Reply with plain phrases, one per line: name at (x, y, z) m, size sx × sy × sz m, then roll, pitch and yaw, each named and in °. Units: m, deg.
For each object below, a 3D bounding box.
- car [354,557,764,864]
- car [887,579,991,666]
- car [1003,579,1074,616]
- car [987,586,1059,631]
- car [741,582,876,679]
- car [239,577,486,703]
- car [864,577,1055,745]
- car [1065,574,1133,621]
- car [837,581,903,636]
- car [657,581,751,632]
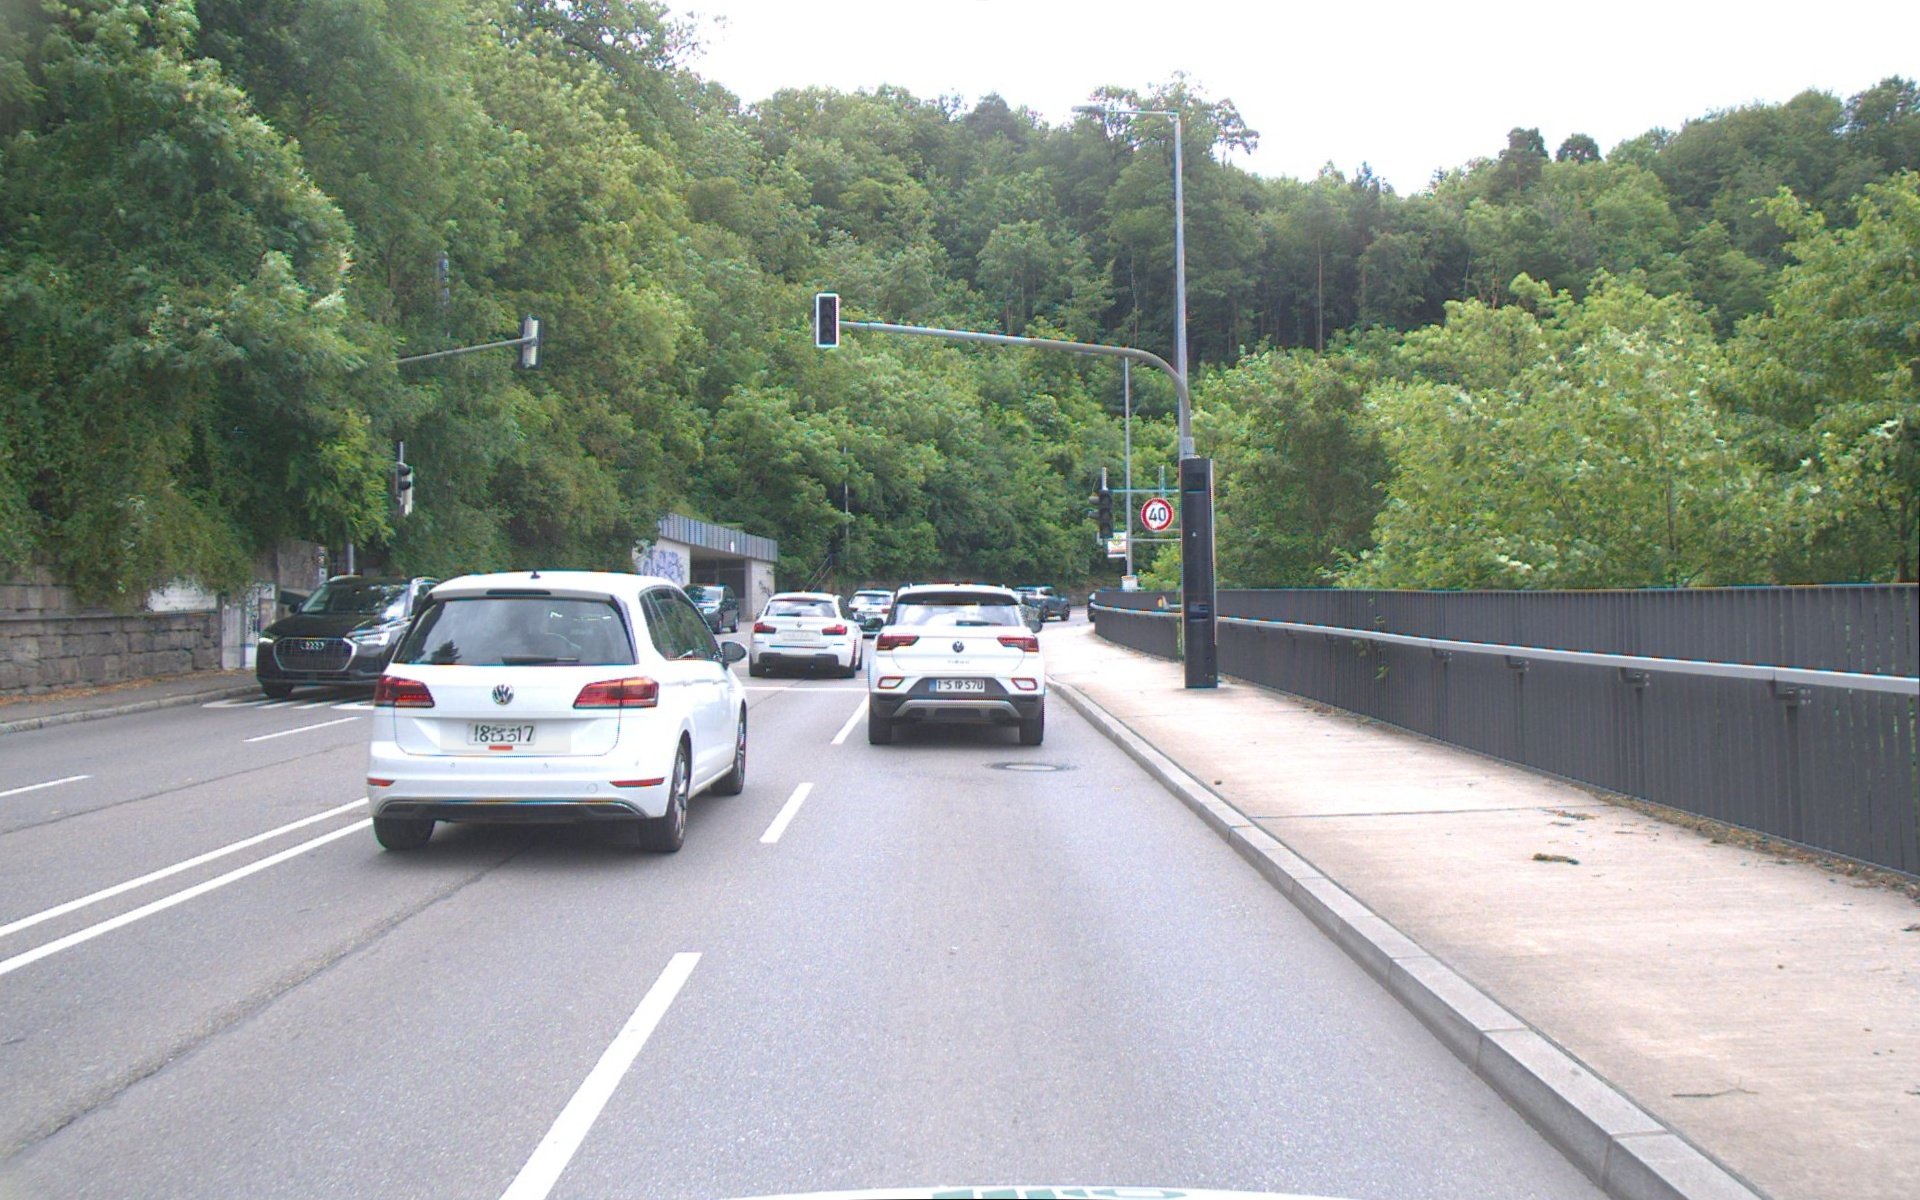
car at (-2.333, 0.563, 10.735) m, size 1.685 × 1.581 × 4.274 m, roll 1°, pitch 0°, yaw -1°
car at (-0.426, 0.506, 39.054) m, size 1.951 × 1.875 × 4.153 m, roll 2°, pitch 0°, yaw 5°
car at (3.598, -0.100, 74.975) m, size 1.844 × 1.545 × 3.998 m, roll 2°, pitch 0°, yaw 24°
car at (2.384, 0.313, 61.614) m, size 1.989 × 1.545 × 4.204 m, roll 2°, pitch 0°, yaw 12°
car at (-2.655, 0.497, 30.097) m, size 1.952 × 1.585 × 4.681 m, roll 1°, pitch 0°, yaw 0°
car at (-8.125, 0.505, 22.947) m, size 1.902 × 1.576 × 4.248 m, roll 0°, pitch 0°, yaw 0°
car at (0.106, 0.572, 17.477) m, size 1.775 × 1.566 × 4.010 m, roll 0°, pitch 0°, yaw 3°
car at (6.474, -0.093, 76.574) m, size 1.953 × 2.049 × 3.999 m, roll 2°, pitch 0°, yaw 23°
car at (-2.803, 0.262, 52.534) m, size 1.824 × 1.623 × 4.000 m, roll 2°, pitch 0°, yaw 0°
car at (-7.972, 0.206, 51.838) m, size 1.774 × 1.459 × 4.252 m, roll 2°, pitch 0°, yaw 7°
